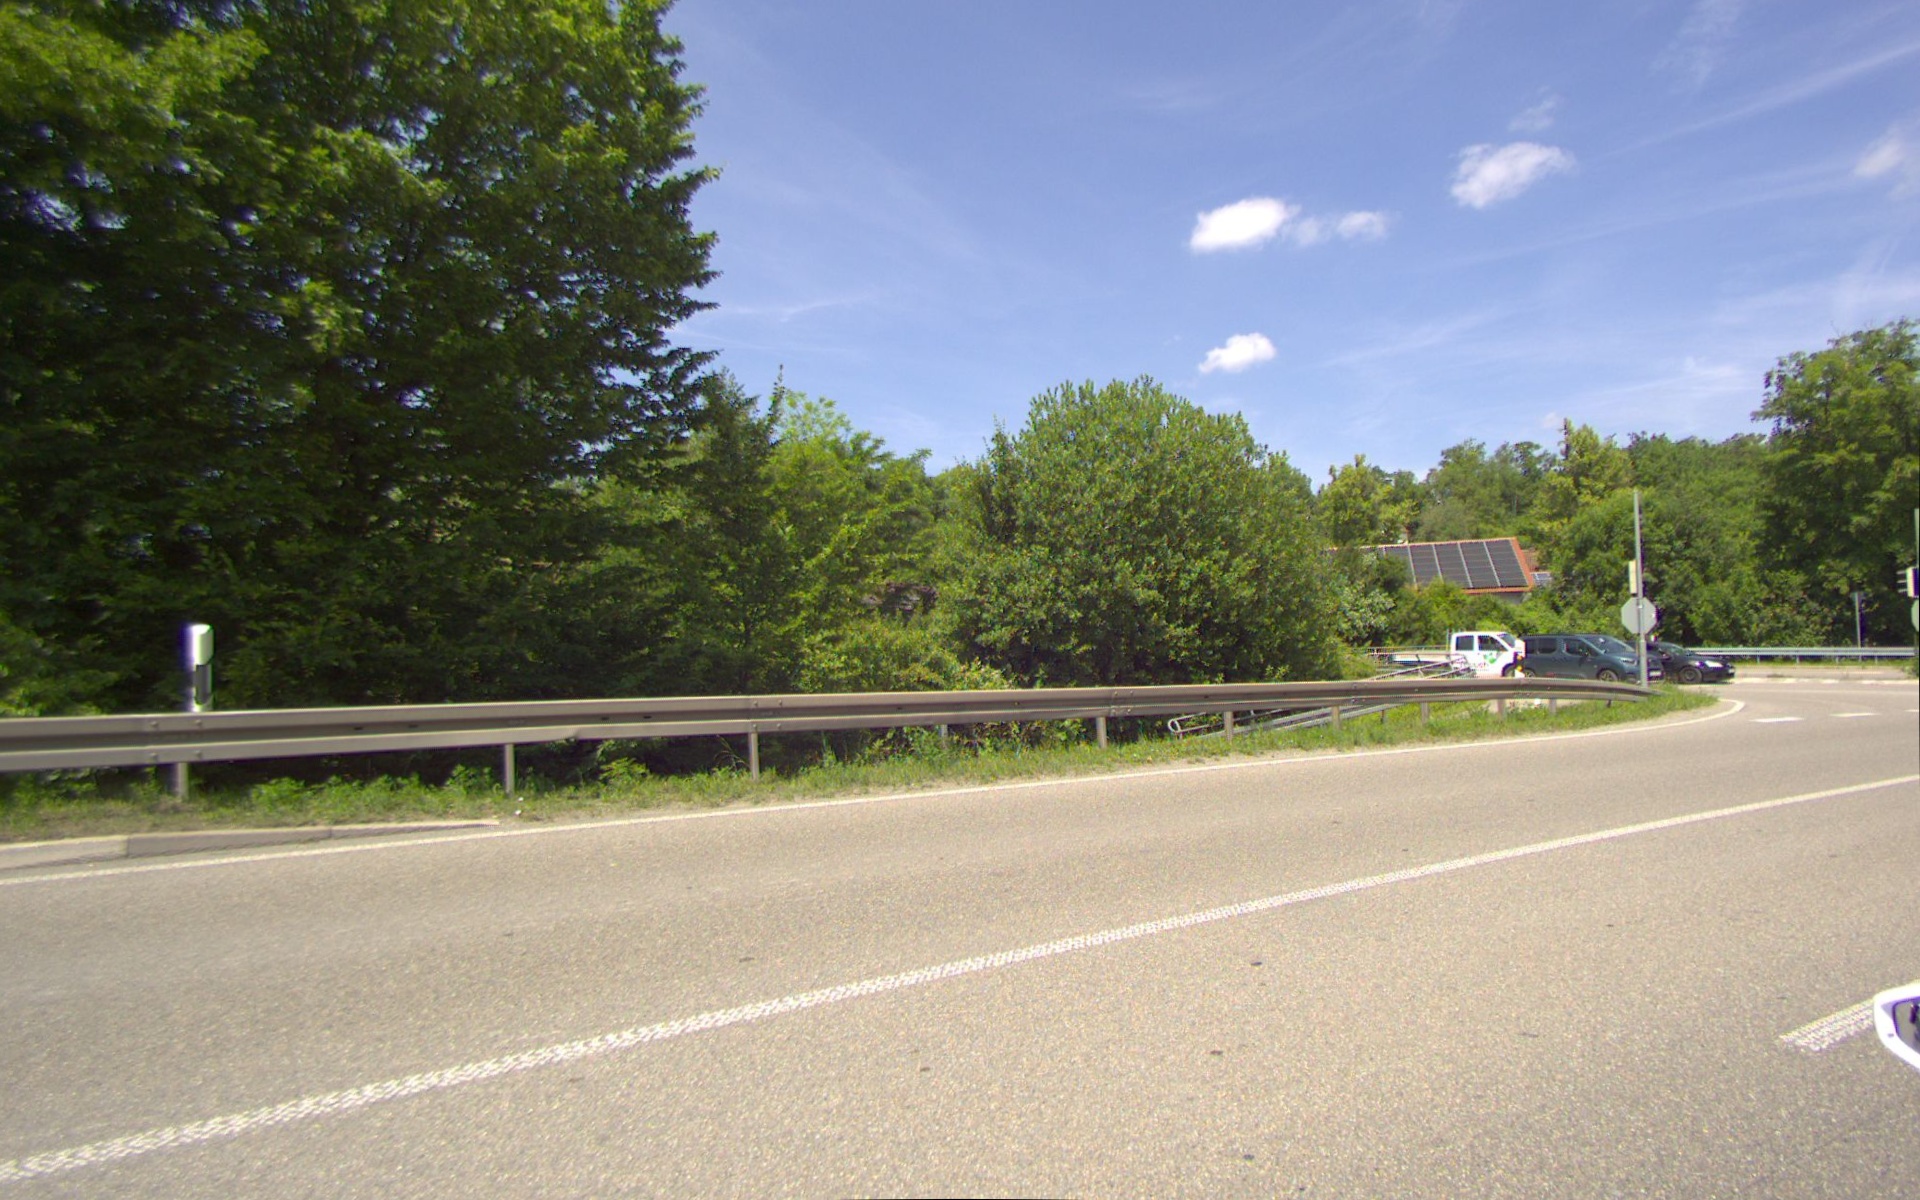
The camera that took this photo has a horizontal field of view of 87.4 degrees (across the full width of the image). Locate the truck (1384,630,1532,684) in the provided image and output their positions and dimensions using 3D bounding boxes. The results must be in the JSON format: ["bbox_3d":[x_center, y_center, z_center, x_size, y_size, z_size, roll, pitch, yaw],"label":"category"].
[{"bbox_3d":[19.585,2.214,39.670,2.028,1.815,4.832,4,-2,-41],"label":"truck"}]

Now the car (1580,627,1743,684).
[{"bbox_3d":[23.770,1.854,34.240,1.970,1.793,4.229,2,-2,-20],"label":"car"}]

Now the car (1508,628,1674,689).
[{"bbox_3d":[20.174,1.831,32.305,1.970,1.793,4.229,2,-2,-20],"label":"car"}]
